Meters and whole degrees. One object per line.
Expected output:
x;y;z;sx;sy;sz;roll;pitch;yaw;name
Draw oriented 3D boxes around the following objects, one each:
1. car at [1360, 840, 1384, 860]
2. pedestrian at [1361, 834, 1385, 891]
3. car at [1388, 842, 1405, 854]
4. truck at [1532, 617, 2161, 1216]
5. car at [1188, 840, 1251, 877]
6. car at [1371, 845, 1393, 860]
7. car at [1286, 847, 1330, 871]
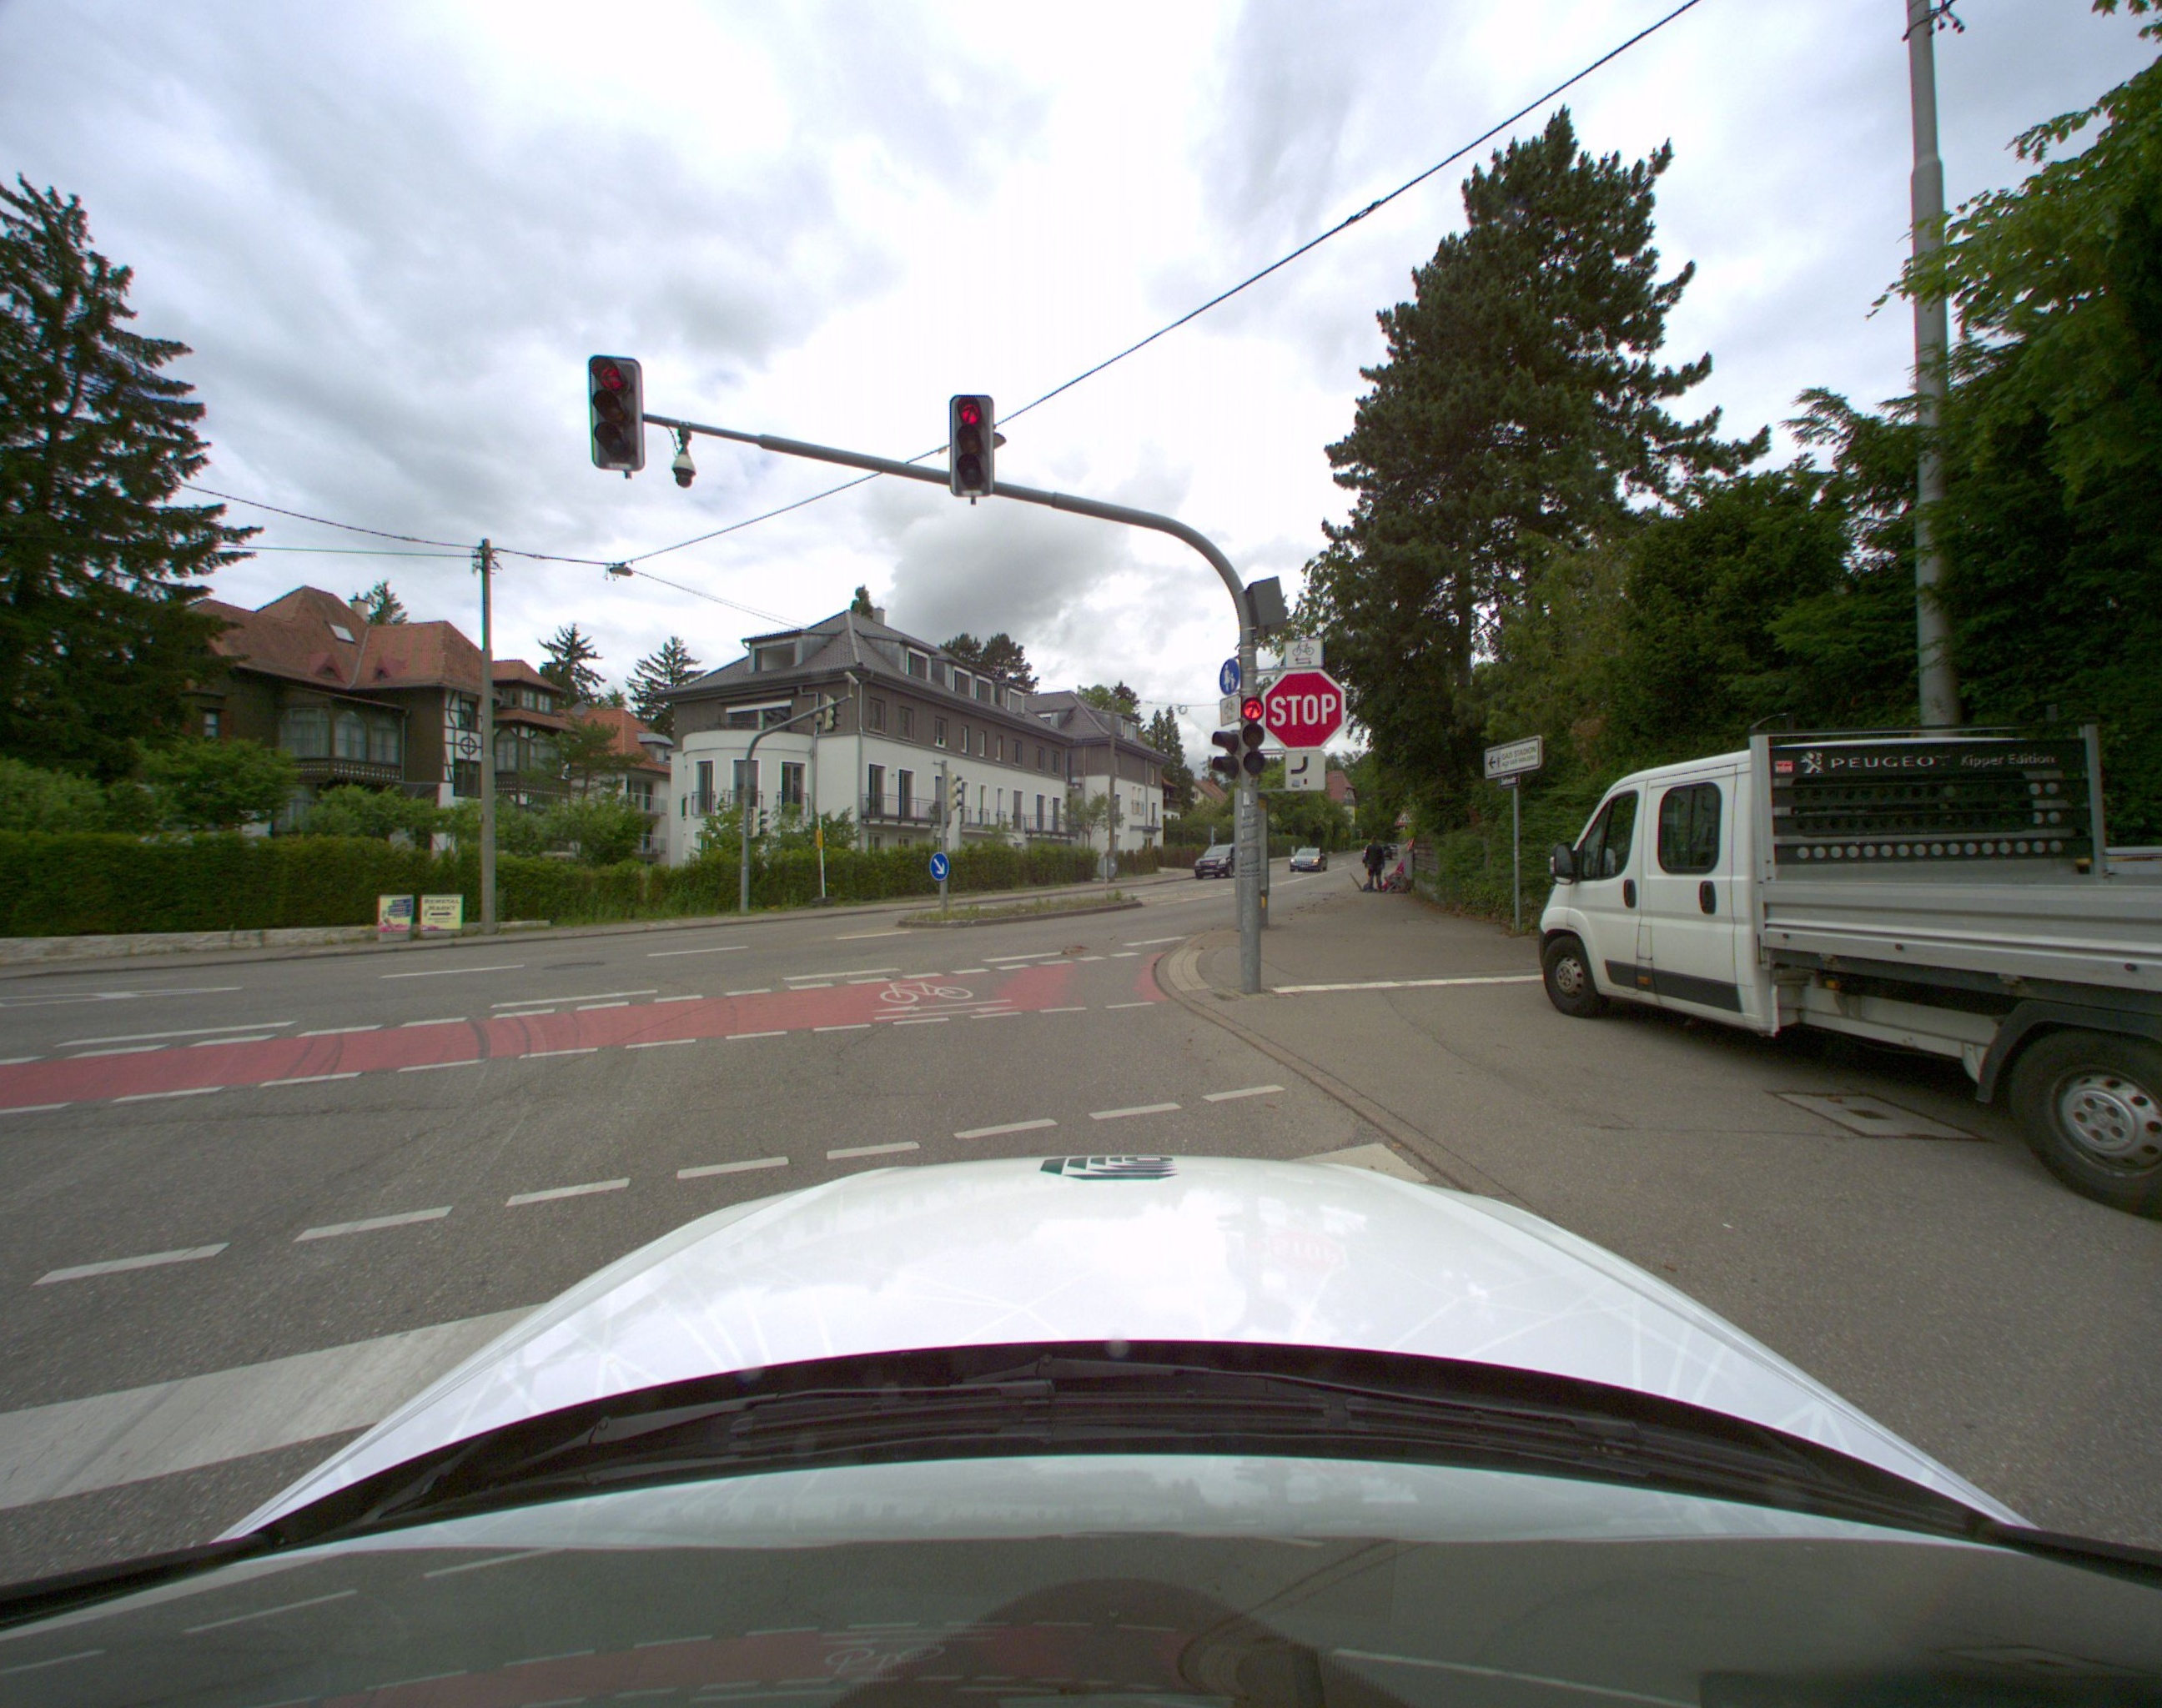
26.238;-0.359;73.277;1.791;1.753;4.511;-2;0;22;car
9.784;0.289;27.310;0.594;1.907;0.559;0;-1;2;pedestrian
39.548;-0.771;101.902;1.678;1.430;3.770;-2;0;25;car
5.278;0.233;4.960;2.198;2.243;5.729;0;0;4;truck
7.742;0.263;45.092;1.894;1.881;5.172;-2;-1;27;car
31.893;-0.168;86.159;1.783;1.527;4.770;-2;0;24;car
14.448;0.299;51.683;1.921;1.403;4.770;-1;0;25;car
